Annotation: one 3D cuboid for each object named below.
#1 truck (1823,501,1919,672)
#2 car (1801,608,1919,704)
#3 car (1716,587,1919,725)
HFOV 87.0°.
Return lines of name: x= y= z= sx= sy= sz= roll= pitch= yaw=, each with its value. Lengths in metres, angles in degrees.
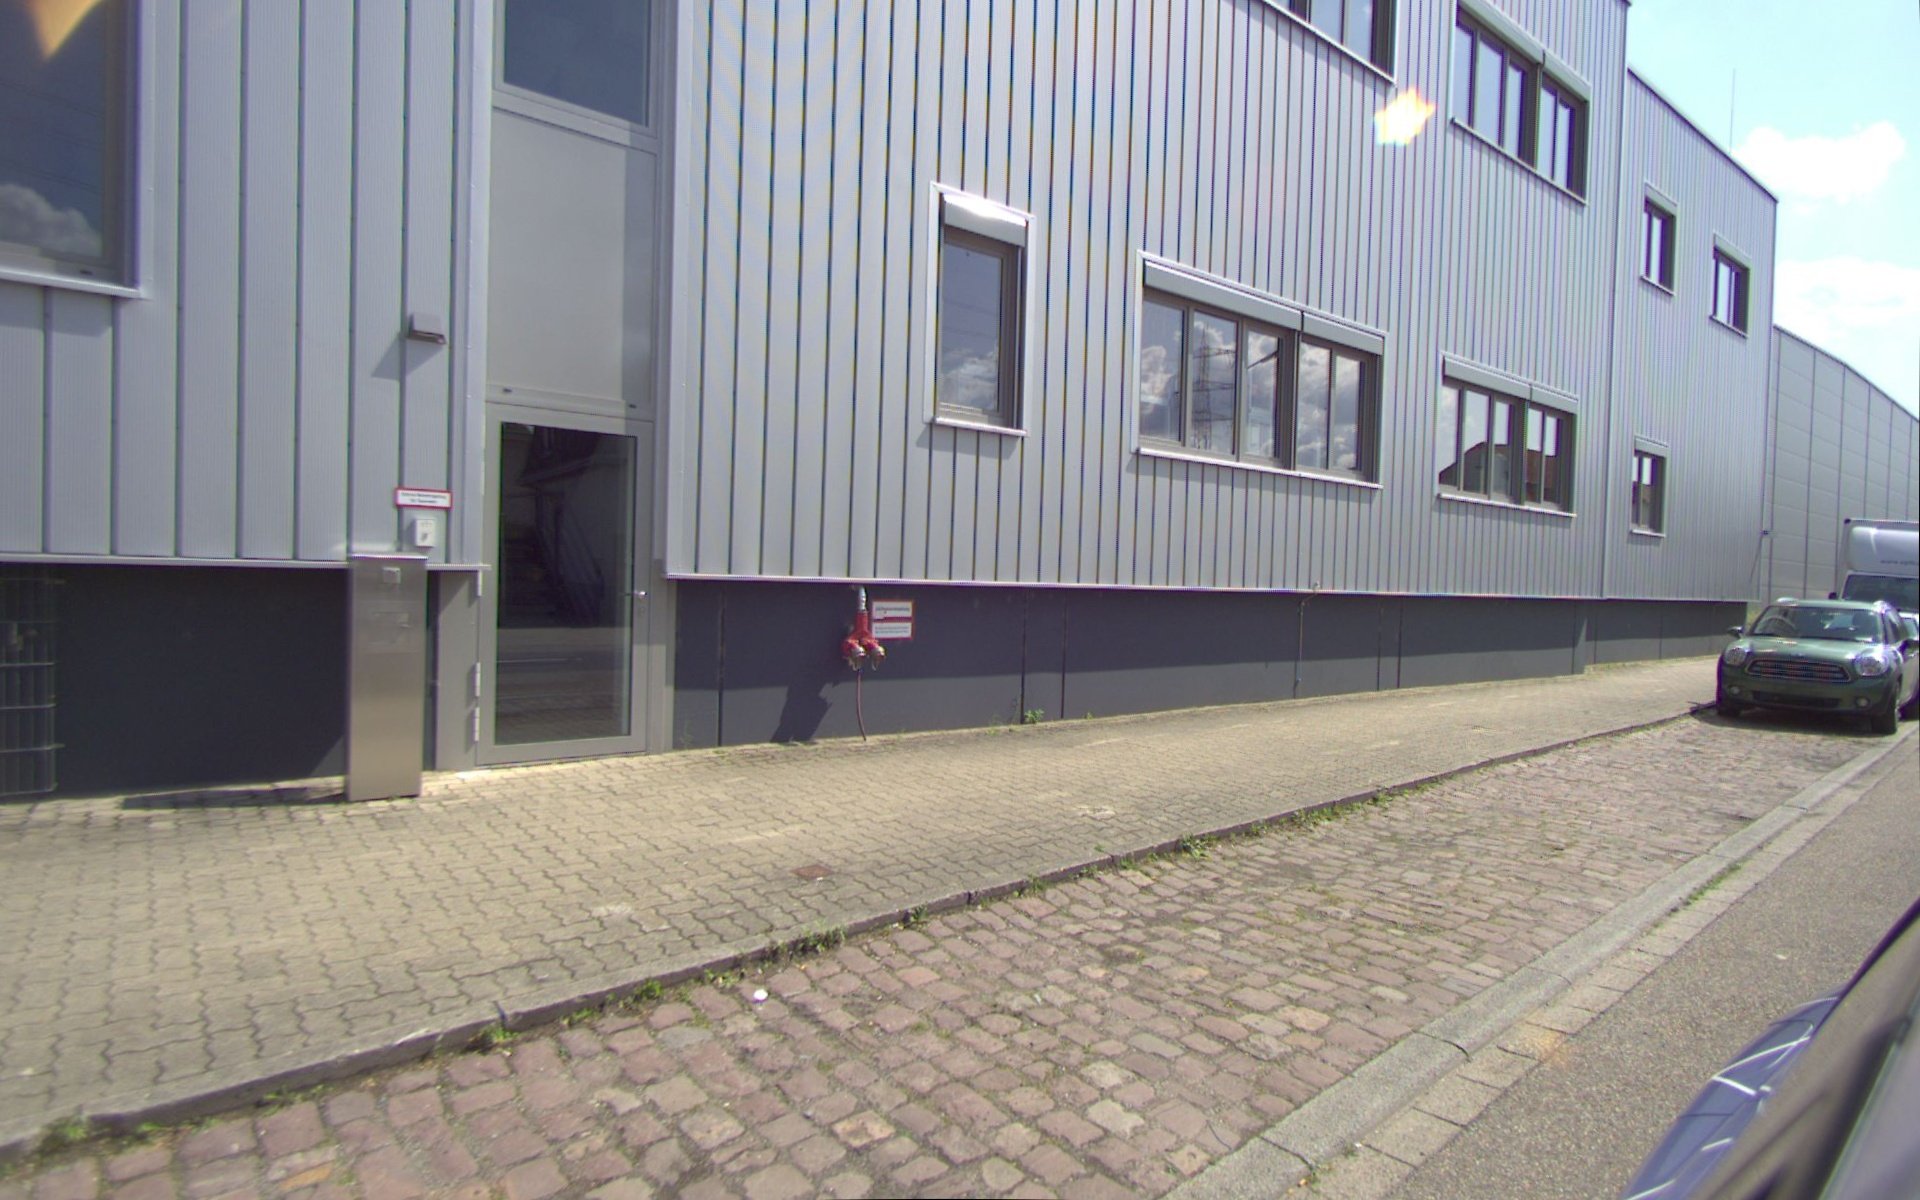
truck: x=21.174 y=-0.230 z=22.236 sx=7.943 sy=3.267 sz=2.602 roll=1 pitch=-1 yaw=-44
car: x=15.772 y=0.866 z=17.145 sx=4.182 sy=1.452 sz=1.713 roll=1 pitch=-1 yaw=-41
car: x=11.411 y=0.635 z=13.181 sx=4.043 sy=1.530 sz=1.713 roll=1 pitch=-1 yaw=-41
